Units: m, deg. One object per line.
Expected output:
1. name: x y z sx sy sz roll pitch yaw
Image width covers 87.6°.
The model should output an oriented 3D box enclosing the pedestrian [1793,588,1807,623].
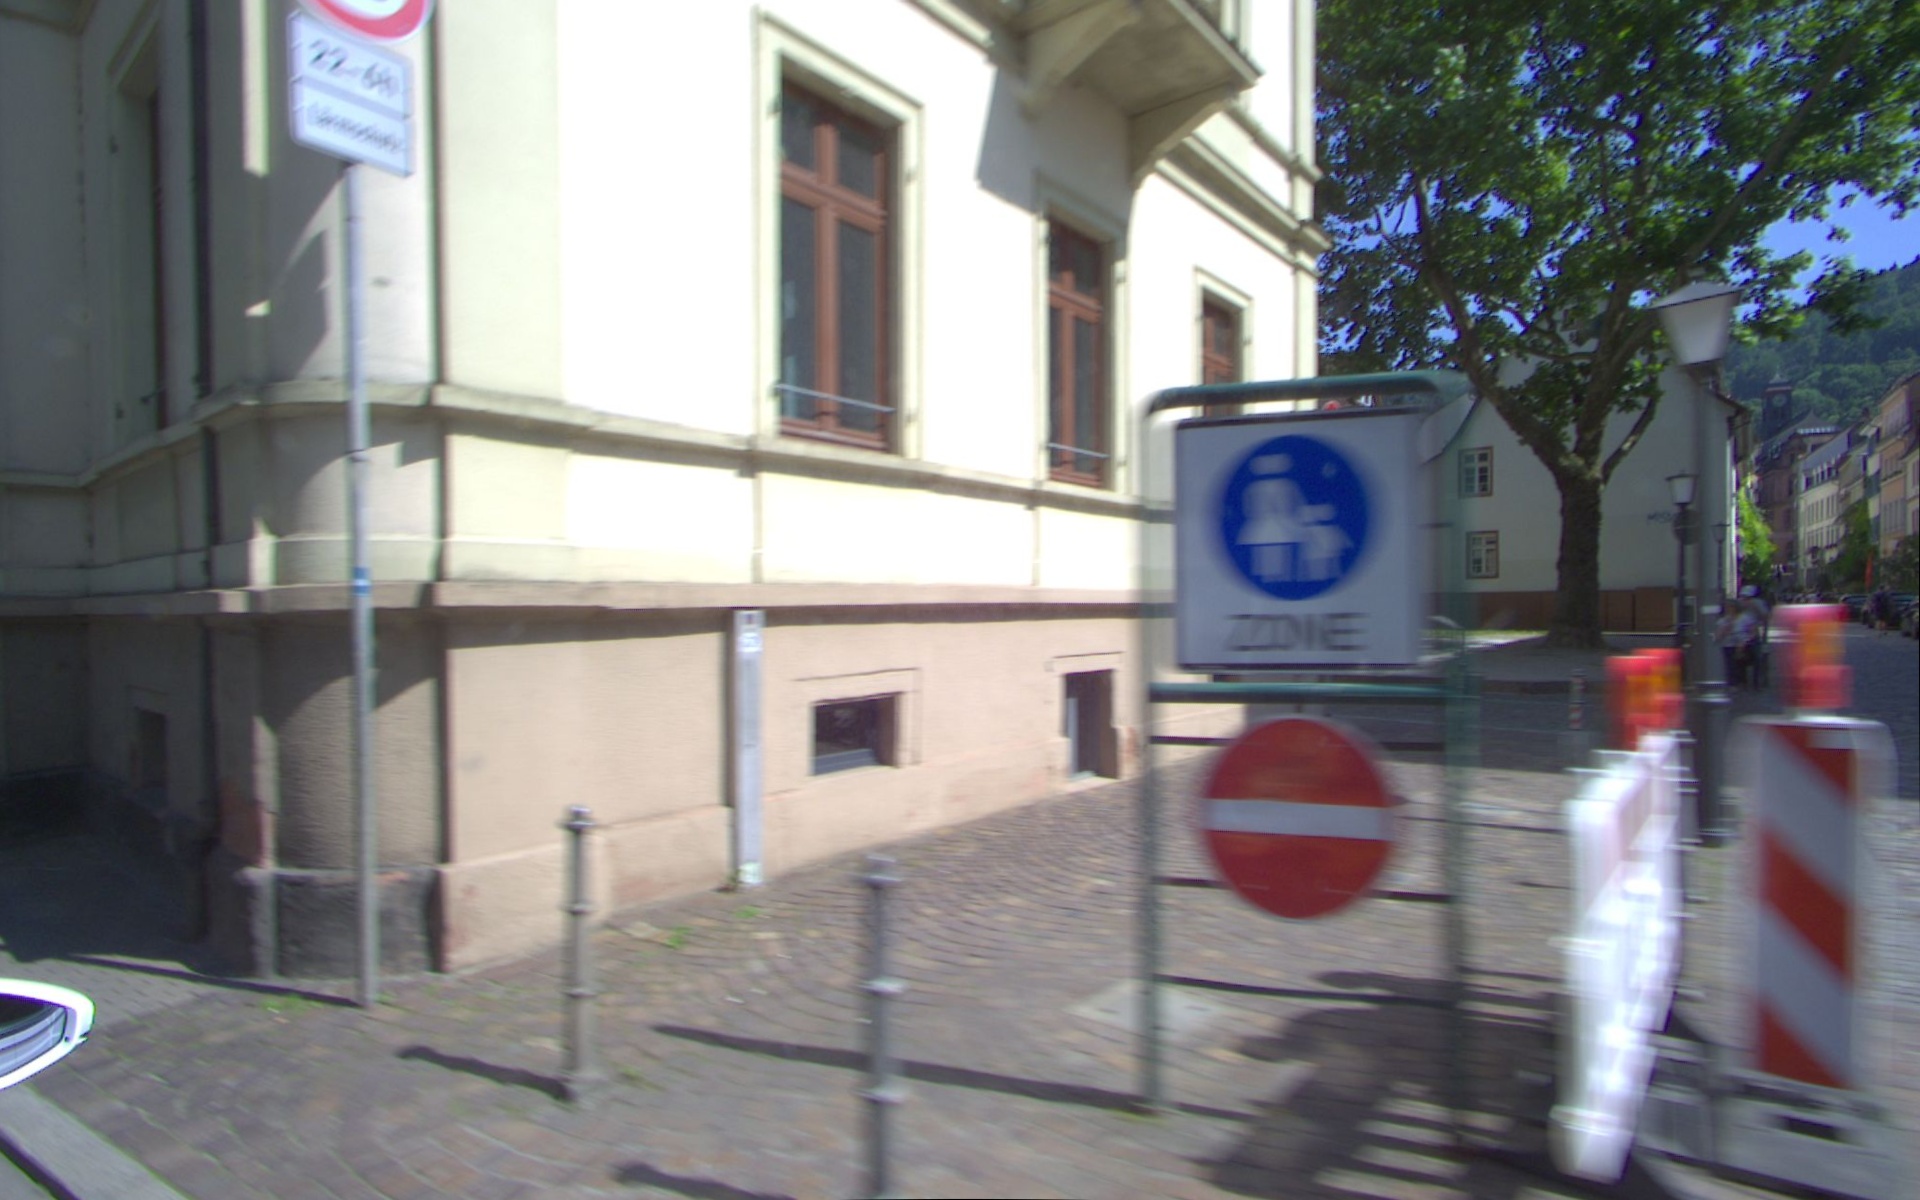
1. pedestrian: 49.236 0.302 58.714 0.635 2.040 0.642 0 1 41

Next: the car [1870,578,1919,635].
1. car: 35.150 0.248 37.017 1.976 2.017 4.055 -1 0 39

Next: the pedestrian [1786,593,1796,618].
1. pedestrian: 68.837 0.425 82.943 0.634 2.040 0.643 0 1 37

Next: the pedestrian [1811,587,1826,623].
1. pedestrian: 49.880 0.289 58.174 0.635 2.040 0.642 0 1 41

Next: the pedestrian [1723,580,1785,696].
1. pedestrian: 13.296 0.623 16.785 0.795 1.876 0.860 0 0 38

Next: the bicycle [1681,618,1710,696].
1. bicycle: 12.625 0.948 17.169 0.317 1.225 1.808 0 1 39

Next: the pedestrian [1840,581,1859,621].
1. pedestrian: 46.063 0.064 51.859 0.634 2.040 0.643 0 1 36

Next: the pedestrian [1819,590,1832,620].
1. pedestrian: 59.181 0.331 68.485 0.634 2.040 0.643 0 1 36

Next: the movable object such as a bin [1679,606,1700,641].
1. movable object such as a bin: 21.994 0.707 30.198 0.491 1.048 0.458 0 0 32

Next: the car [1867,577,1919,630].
1. car: 37.914 0.152 40.338 1.979 2.017 4.050 -1 0 43

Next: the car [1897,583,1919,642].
1. car: 32.294 0.404 32.755 1.975 1.859 4.147 -1 0 37

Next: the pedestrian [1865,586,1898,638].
1. pedestrian: 32.314 0.415 35.133 0.764 1.791 0.798 0 0 37

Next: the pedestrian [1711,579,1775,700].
1. pedestrian: 12.655 0.621 16.195 0.795 1.876 0.860 0 0 38
